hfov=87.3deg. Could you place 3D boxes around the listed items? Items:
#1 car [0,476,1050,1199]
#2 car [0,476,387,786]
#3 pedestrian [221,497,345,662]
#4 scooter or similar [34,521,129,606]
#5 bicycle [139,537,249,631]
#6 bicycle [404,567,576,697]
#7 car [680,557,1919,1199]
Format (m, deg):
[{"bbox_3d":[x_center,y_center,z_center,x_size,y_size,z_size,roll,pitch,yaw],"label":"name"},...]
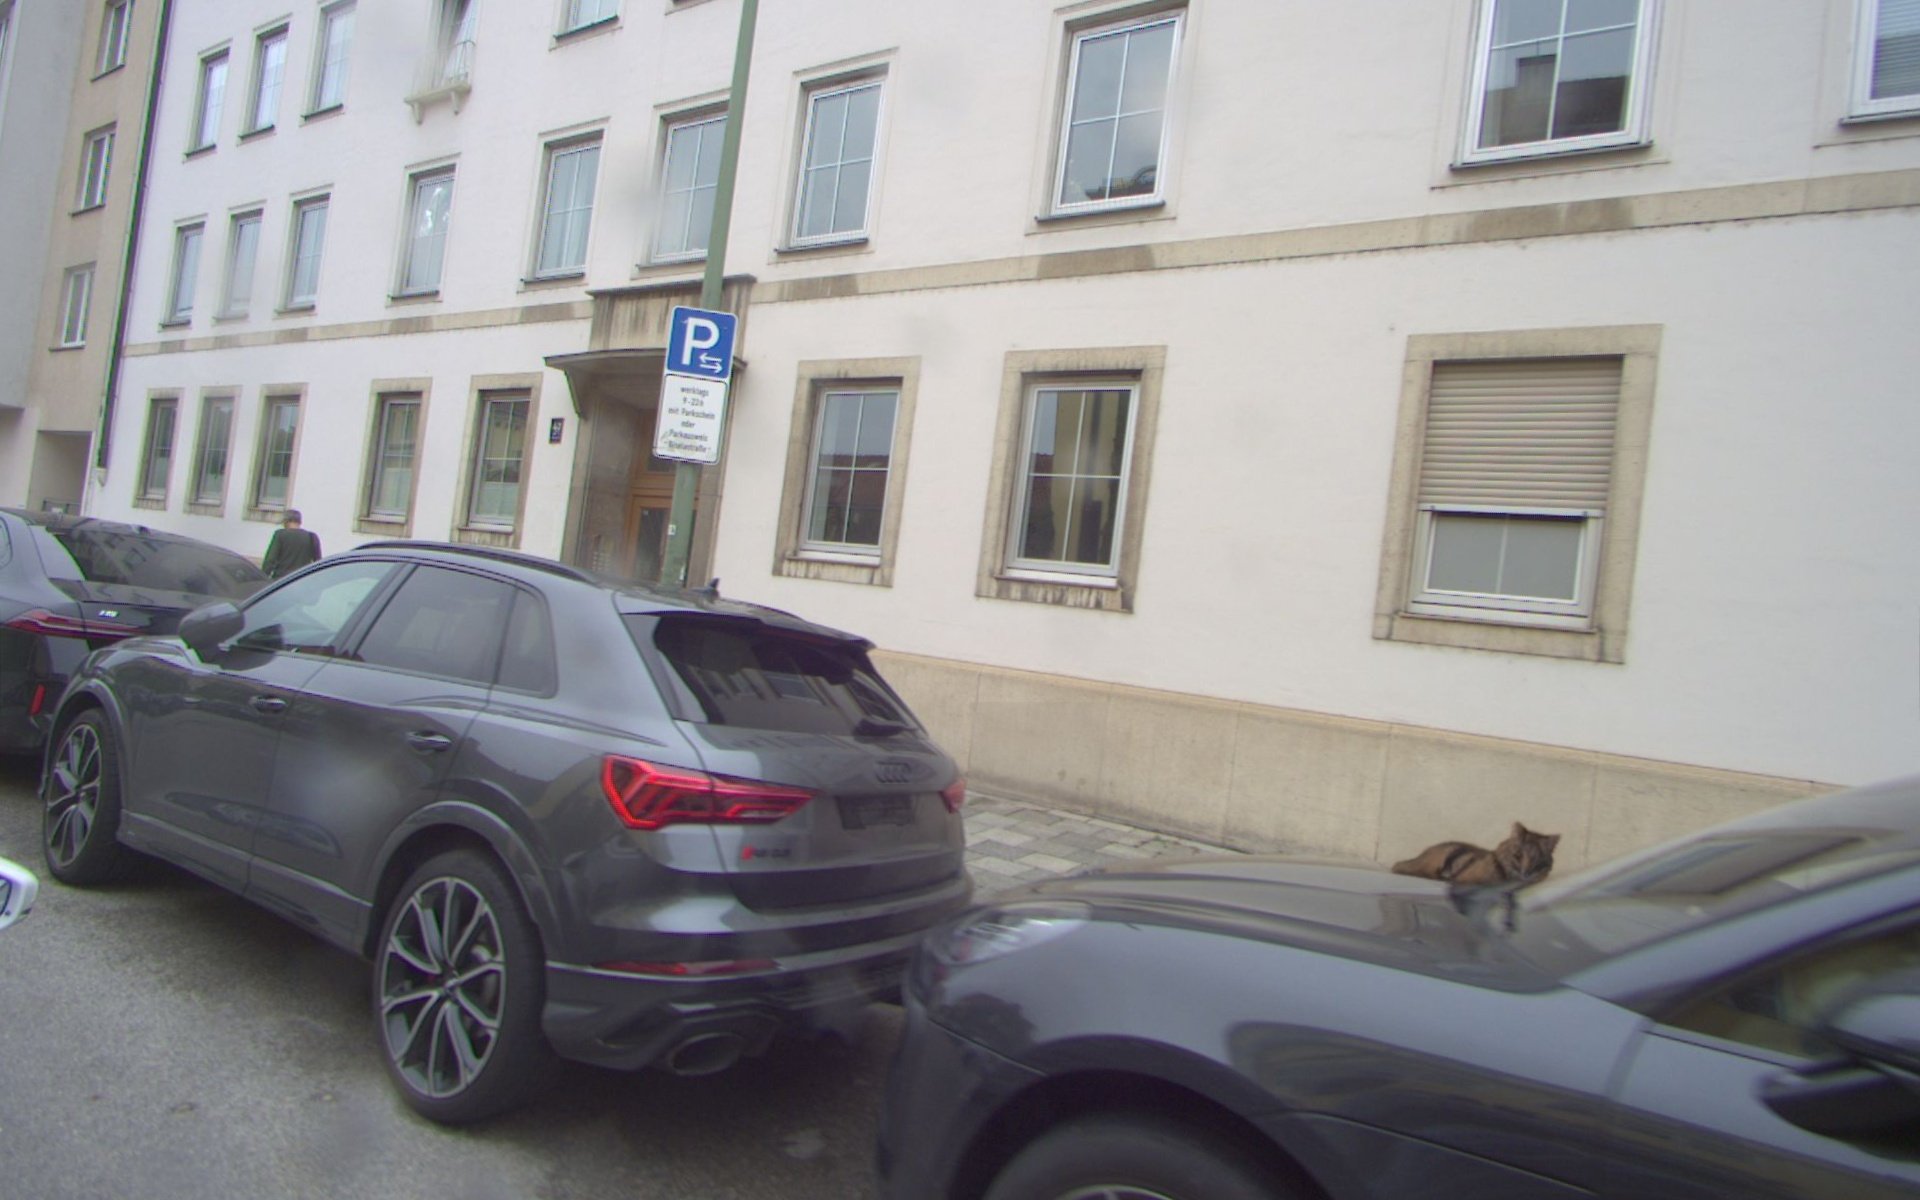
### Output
[{"bbox_3d":[-2.120,0.536,4.174,4.558,1.605,1.650,6,-5,32],"label":"car"},{"bbox_3d":[-6.447,0.048,6.959,5.230,1.499,1.809,6,-5,31],"label":"car"},{"bbox_3d":[-7.770,-0.227,11.552,0.890,1.783,0.724,3,-3,32],"label":"pedestrian"},{"bbox_3d":[-15.420,-0.643,17.659,1.561,1.374,0.441,4,-2,20],"label":"scooter or similar"},{"bbox_3d":[-11.749,-0.263,15.405,2.068,1.232,0.530,6,-2,32],"label":"bicycle"},{"bbox_3d":[-5.393,0.356,11.517,1.953,1.236,0.514,7,-1,25],"label":"bicycle"},{"bbox_3d":[1.910,0.987,1.627,4.632,1.538,1.844,6,-4,33],"label":"car"}]
